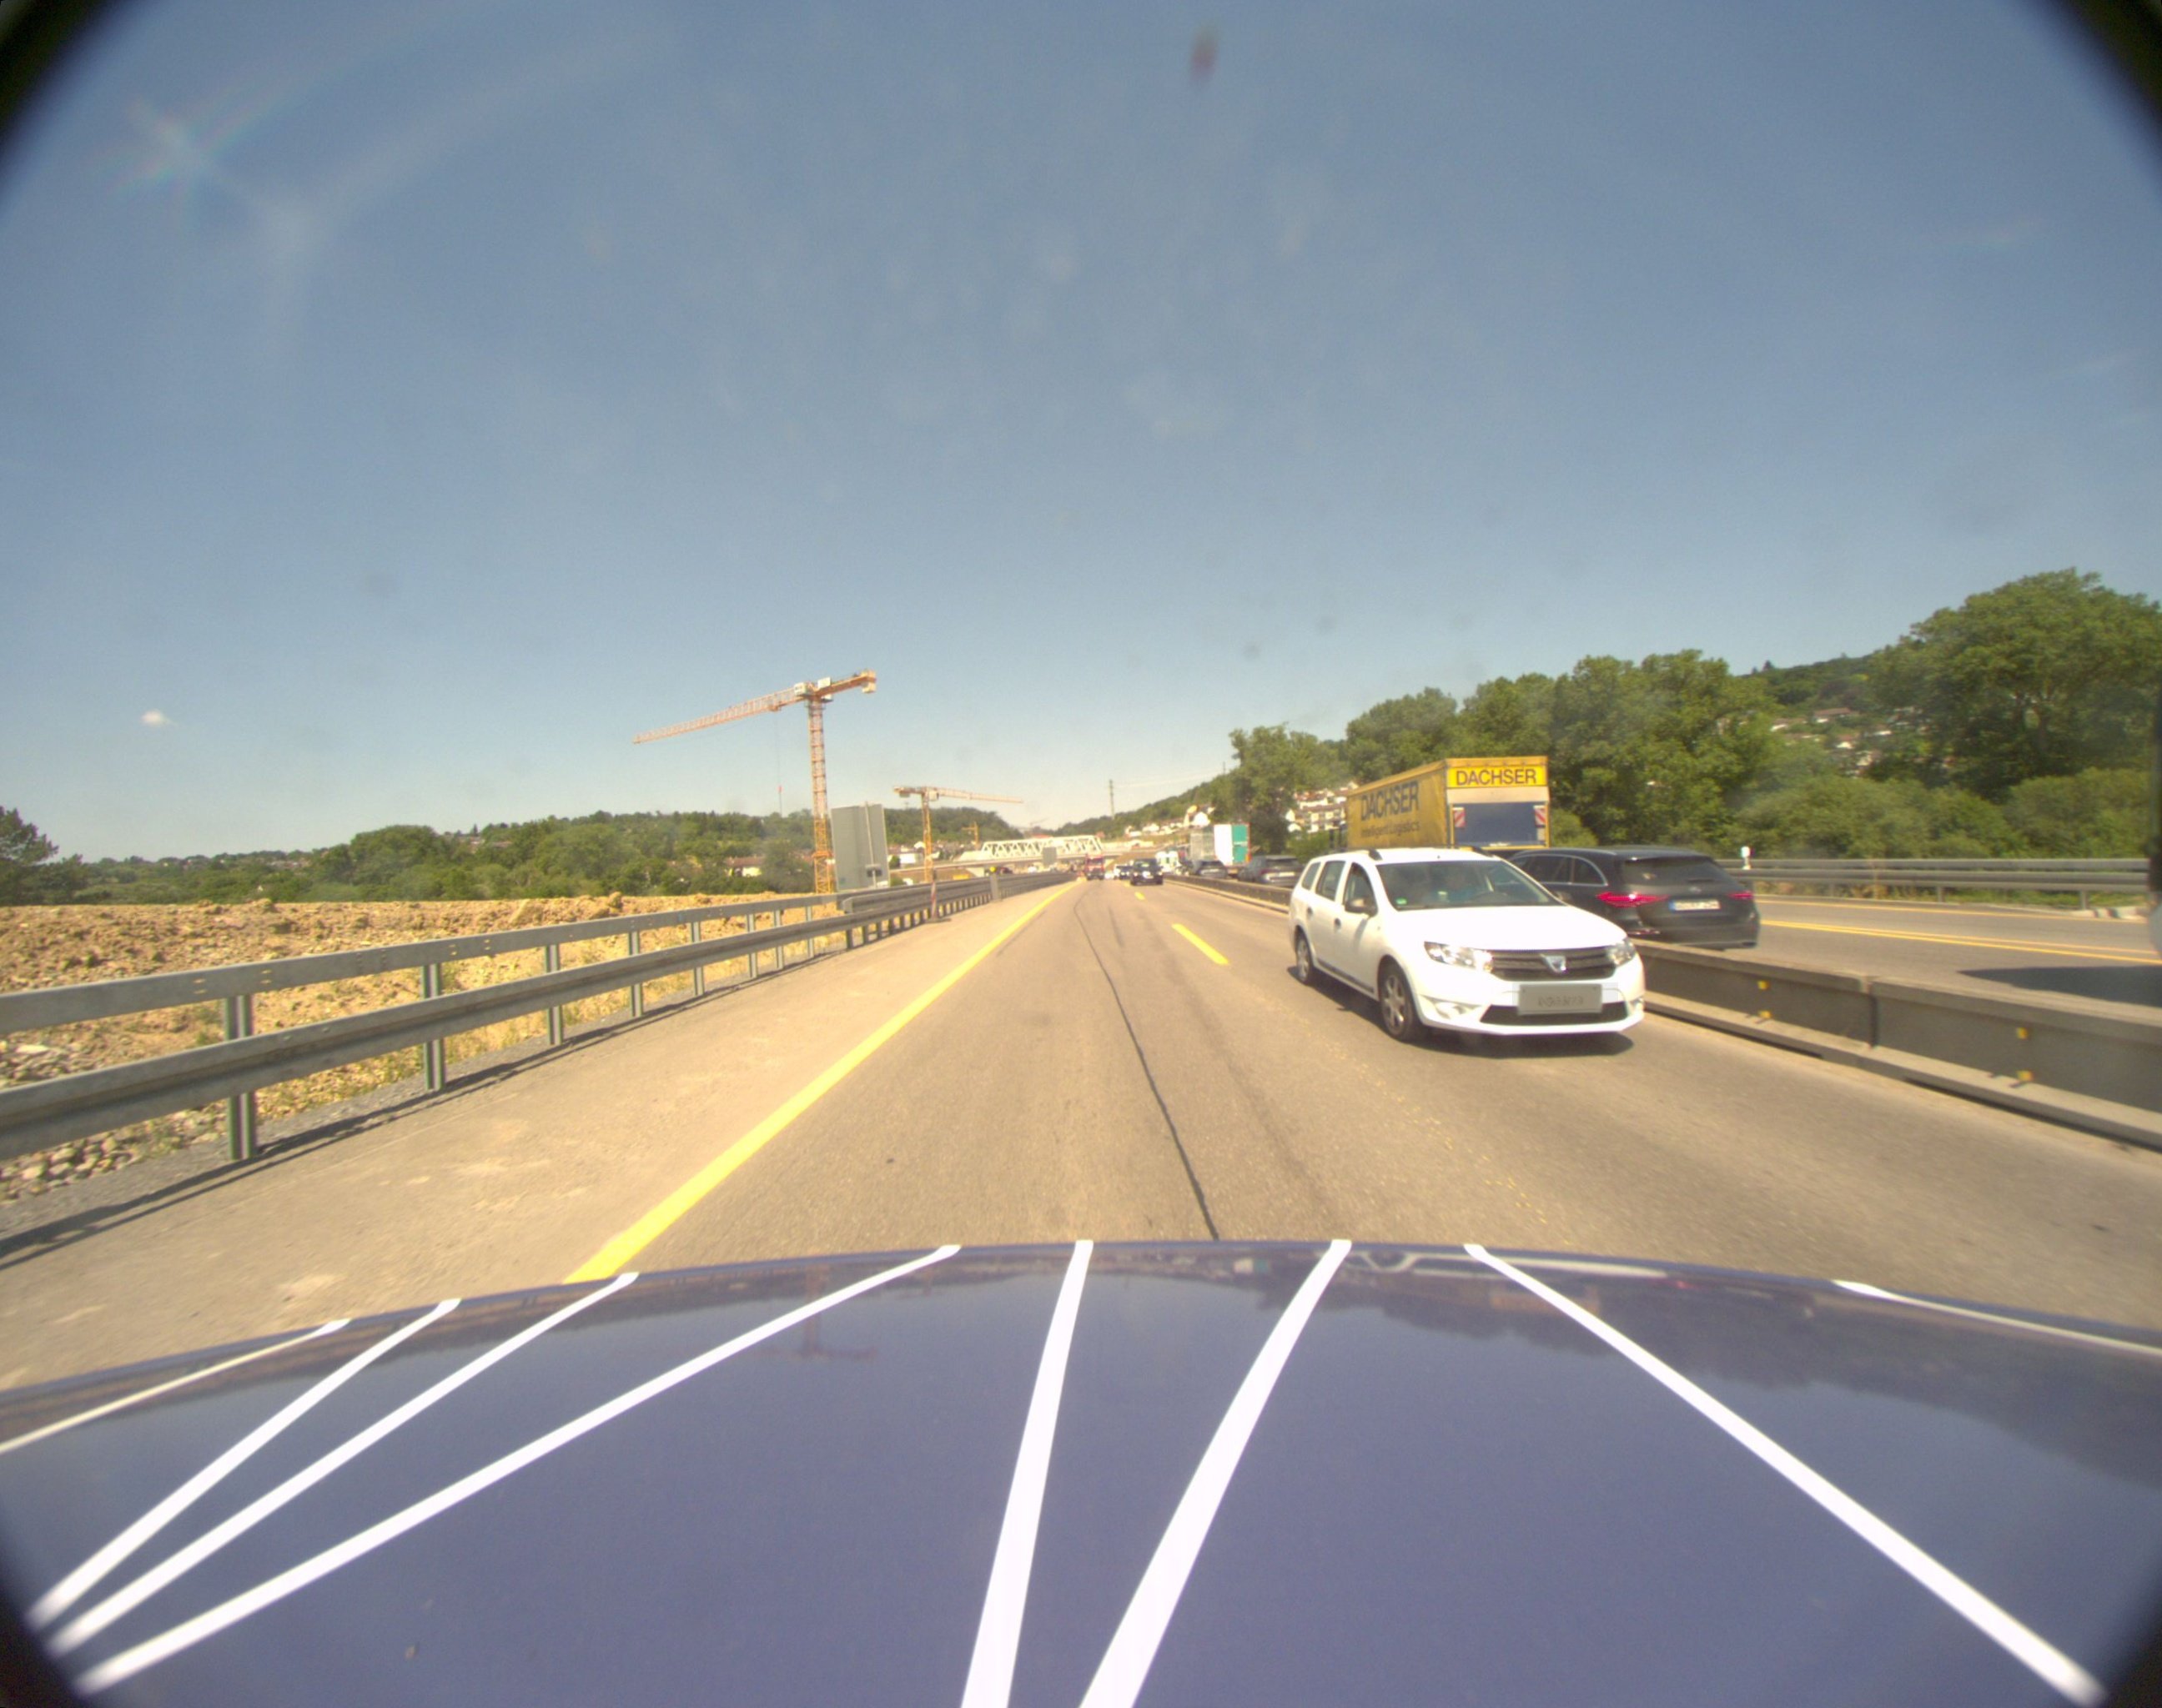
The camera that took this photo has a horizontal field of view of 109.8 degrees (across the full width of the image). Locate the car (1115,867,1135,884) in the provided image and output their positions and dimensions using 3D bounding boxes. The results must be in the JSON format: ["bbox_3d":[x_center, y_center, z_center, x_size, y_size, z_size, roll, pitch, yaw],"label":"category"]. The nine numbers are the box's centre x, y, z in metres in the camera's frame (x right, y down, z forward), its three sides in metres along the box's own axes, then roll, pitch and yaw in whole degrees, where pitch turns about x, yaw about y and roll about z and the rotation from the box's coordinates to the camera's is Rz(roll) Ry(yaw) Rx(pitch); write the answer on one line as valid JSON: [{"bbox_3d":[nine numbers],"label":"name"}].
[{"bbox_3d":[4.380,2.146,75.861,1.791,1.577,4.002,-4,-2,2],"label":"car"}]

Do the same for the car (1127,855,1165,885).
[{"bbox_3d":[3.968,0.948,46.931,1.862,1.683,4.097,-2,0,-1],"label":"car"}]

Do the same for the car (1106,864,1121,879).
[{"bbox_3d":[4.156,2.259,97.448,1.791,1.870,4.002,-4,-2,2],"label":"car"}]

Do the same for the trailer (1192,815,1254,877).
[{"bbox_3d":[11.191,-0.517,61.255,2.822,4.404,13.170,-2,-1,2],"label":"trailer"}]

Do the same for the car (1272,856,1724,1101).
[{"bbox_3d":[3.285,0.818,7.275,1.823,1.521,4.706,-2,0,2],"label":"car"}]

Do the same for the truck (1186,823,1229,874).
[{"bbox_3d":[11.384,-0.388,68.862,2.813,4.365,6.227,-2,-1,1],"label":"truck"}]

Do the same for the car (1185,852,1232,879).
[{"bbox_3d":[7.385,0.656,44.486,1.887,1.423,5.125,-2,0,1],"label":"car"}]

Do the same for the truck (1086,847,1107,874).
[{"bbox_3d":[2.326,0.996,111.330,2.702,3.704,8.510,-2,-1,2],"label":"truck"}]

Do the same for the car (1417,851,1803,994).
[{"bbox_3d":[6.589,0.711,10.365,1.842,1.435,4.930,-2,0,1],"label":"car"}]

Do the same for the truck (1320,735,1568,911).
[{"bbox_3d":[10.375,-0.737,23.427,2.809,4.128,10.079,-2,0,1],"label":"truck"}]

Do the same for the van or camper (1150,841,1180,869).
[{"bbox_3d":[8.190,0.196,74.514,2.224,2.496,6.535,-2,-1,1],"label":"van or camper"}]

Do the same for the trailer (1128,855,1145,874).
[{"bbox_3d":[13.073,2.577,180.205,2.814,4.150,11.800,-2,-2,-2],"label":"trailer"}]

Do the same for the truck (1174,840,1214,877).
[{"bbox_3d":[12.573,0.609,85.197,2.912,3.741,8.369,-3,-2,-1],"label":"truck"}]

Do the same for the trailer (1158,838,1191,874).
[{"bbox_3d":[12.387,0.402,101.765,3.109,4.437,13.024,-1,-2,1],"label":"trailer"}]

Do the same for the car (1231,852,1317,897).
[{"bbox_3d":[6.884,0.697,27.641,1.864,1.485,4.904,0,0,0],"label":"car"}]

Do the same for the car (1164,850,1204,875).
[{"bbox_3d":[7.857,0.672,58.504,2.377,1.715,5.783,-3,-2,1],"label":"car"}]
